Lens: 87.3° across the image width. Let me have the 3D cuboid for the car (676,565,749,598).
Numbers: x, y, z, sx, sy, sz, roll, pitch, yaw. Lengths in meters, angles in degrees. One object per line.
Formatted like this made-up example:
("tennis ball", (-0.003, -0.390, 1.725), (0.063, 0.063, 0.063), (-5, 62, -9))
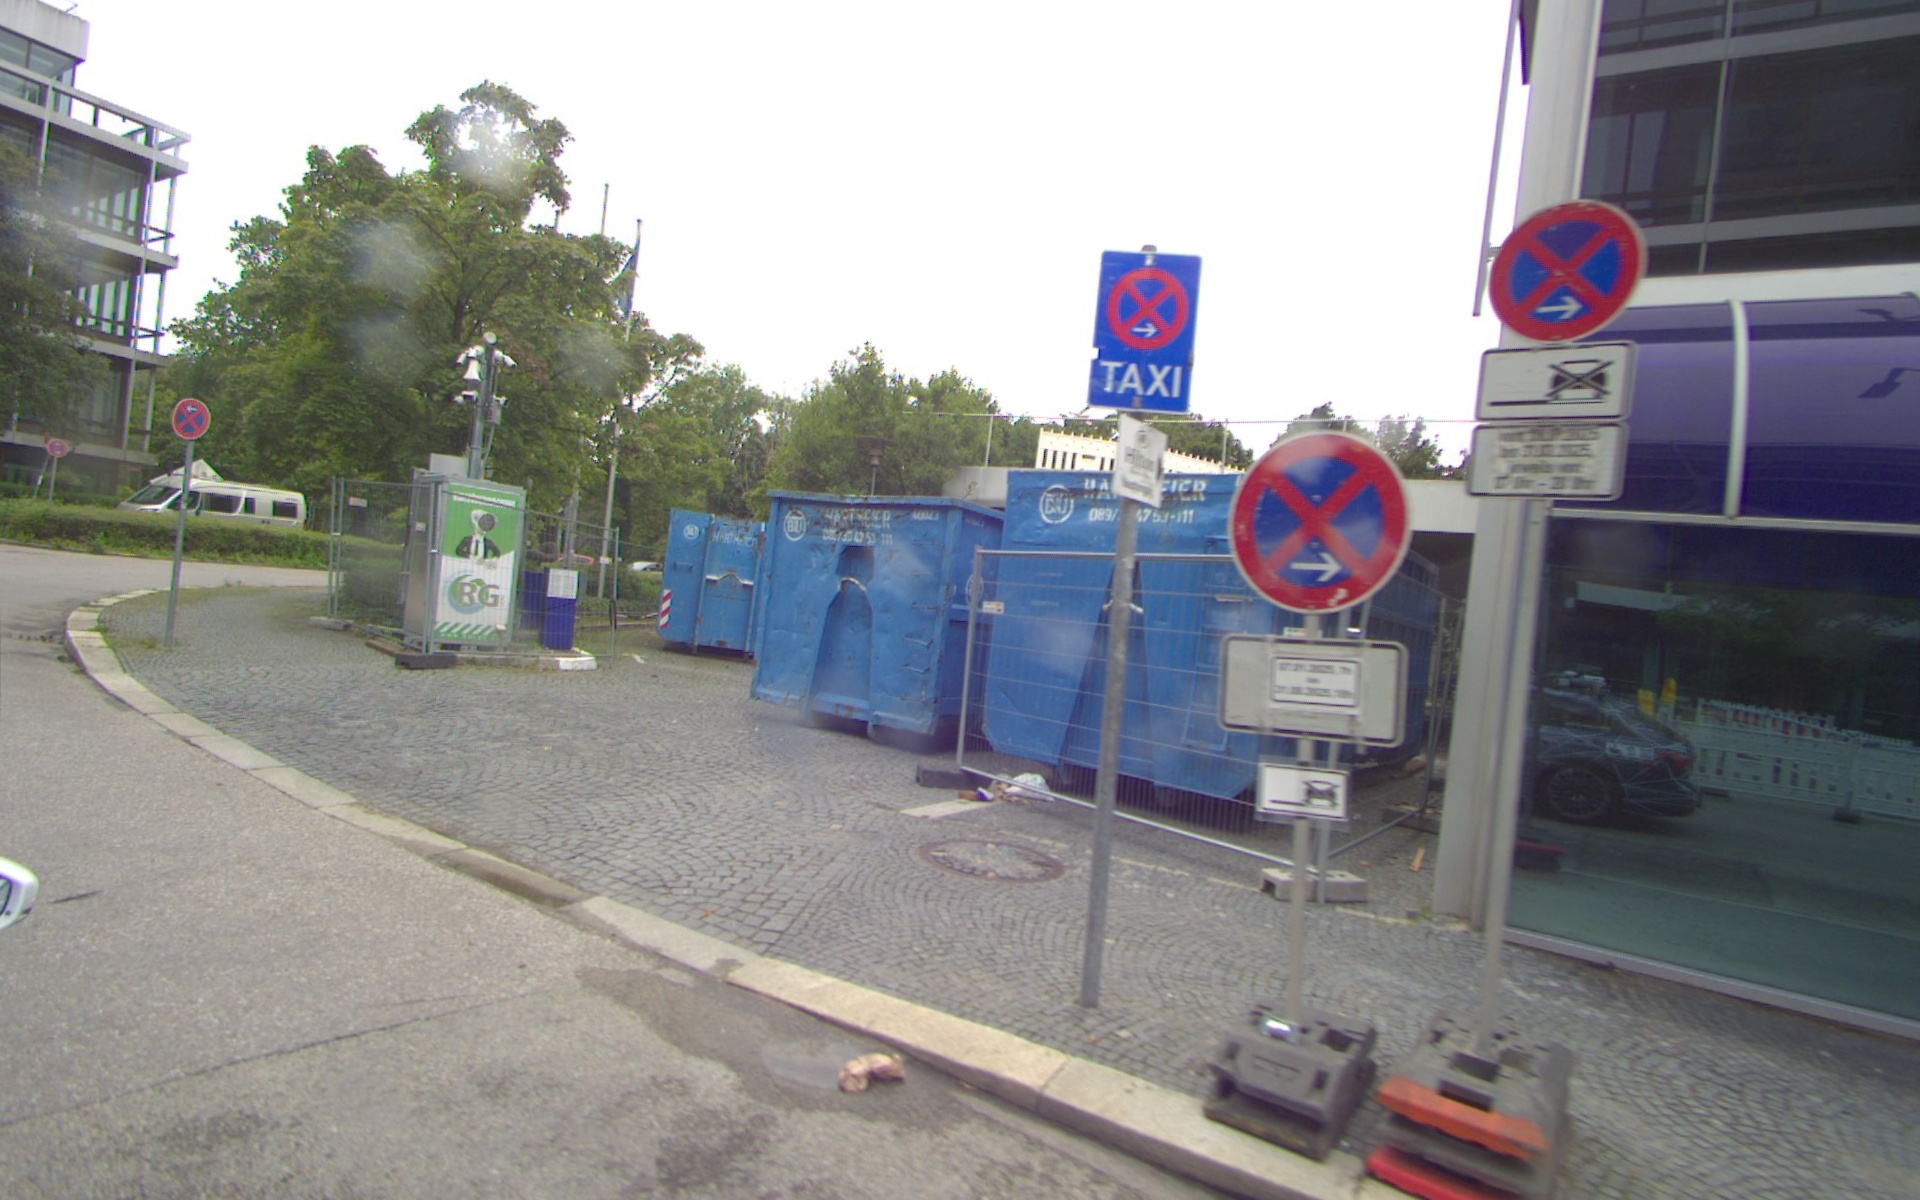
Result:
("car", (-15.287, -1.133, 62.328), (1.967, 1.594, 3.990), (7, 0, 33))

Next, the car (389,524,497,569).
("car", (-24.400, -2.499, 47.576), (1.967, 1.527, 3.990), (7, 0, 33))

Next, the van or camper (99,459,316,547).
("van or camper", (-28.557, -3.604, 38.578), (2.212, 2.309, 6.420), (7, 0, 17))
